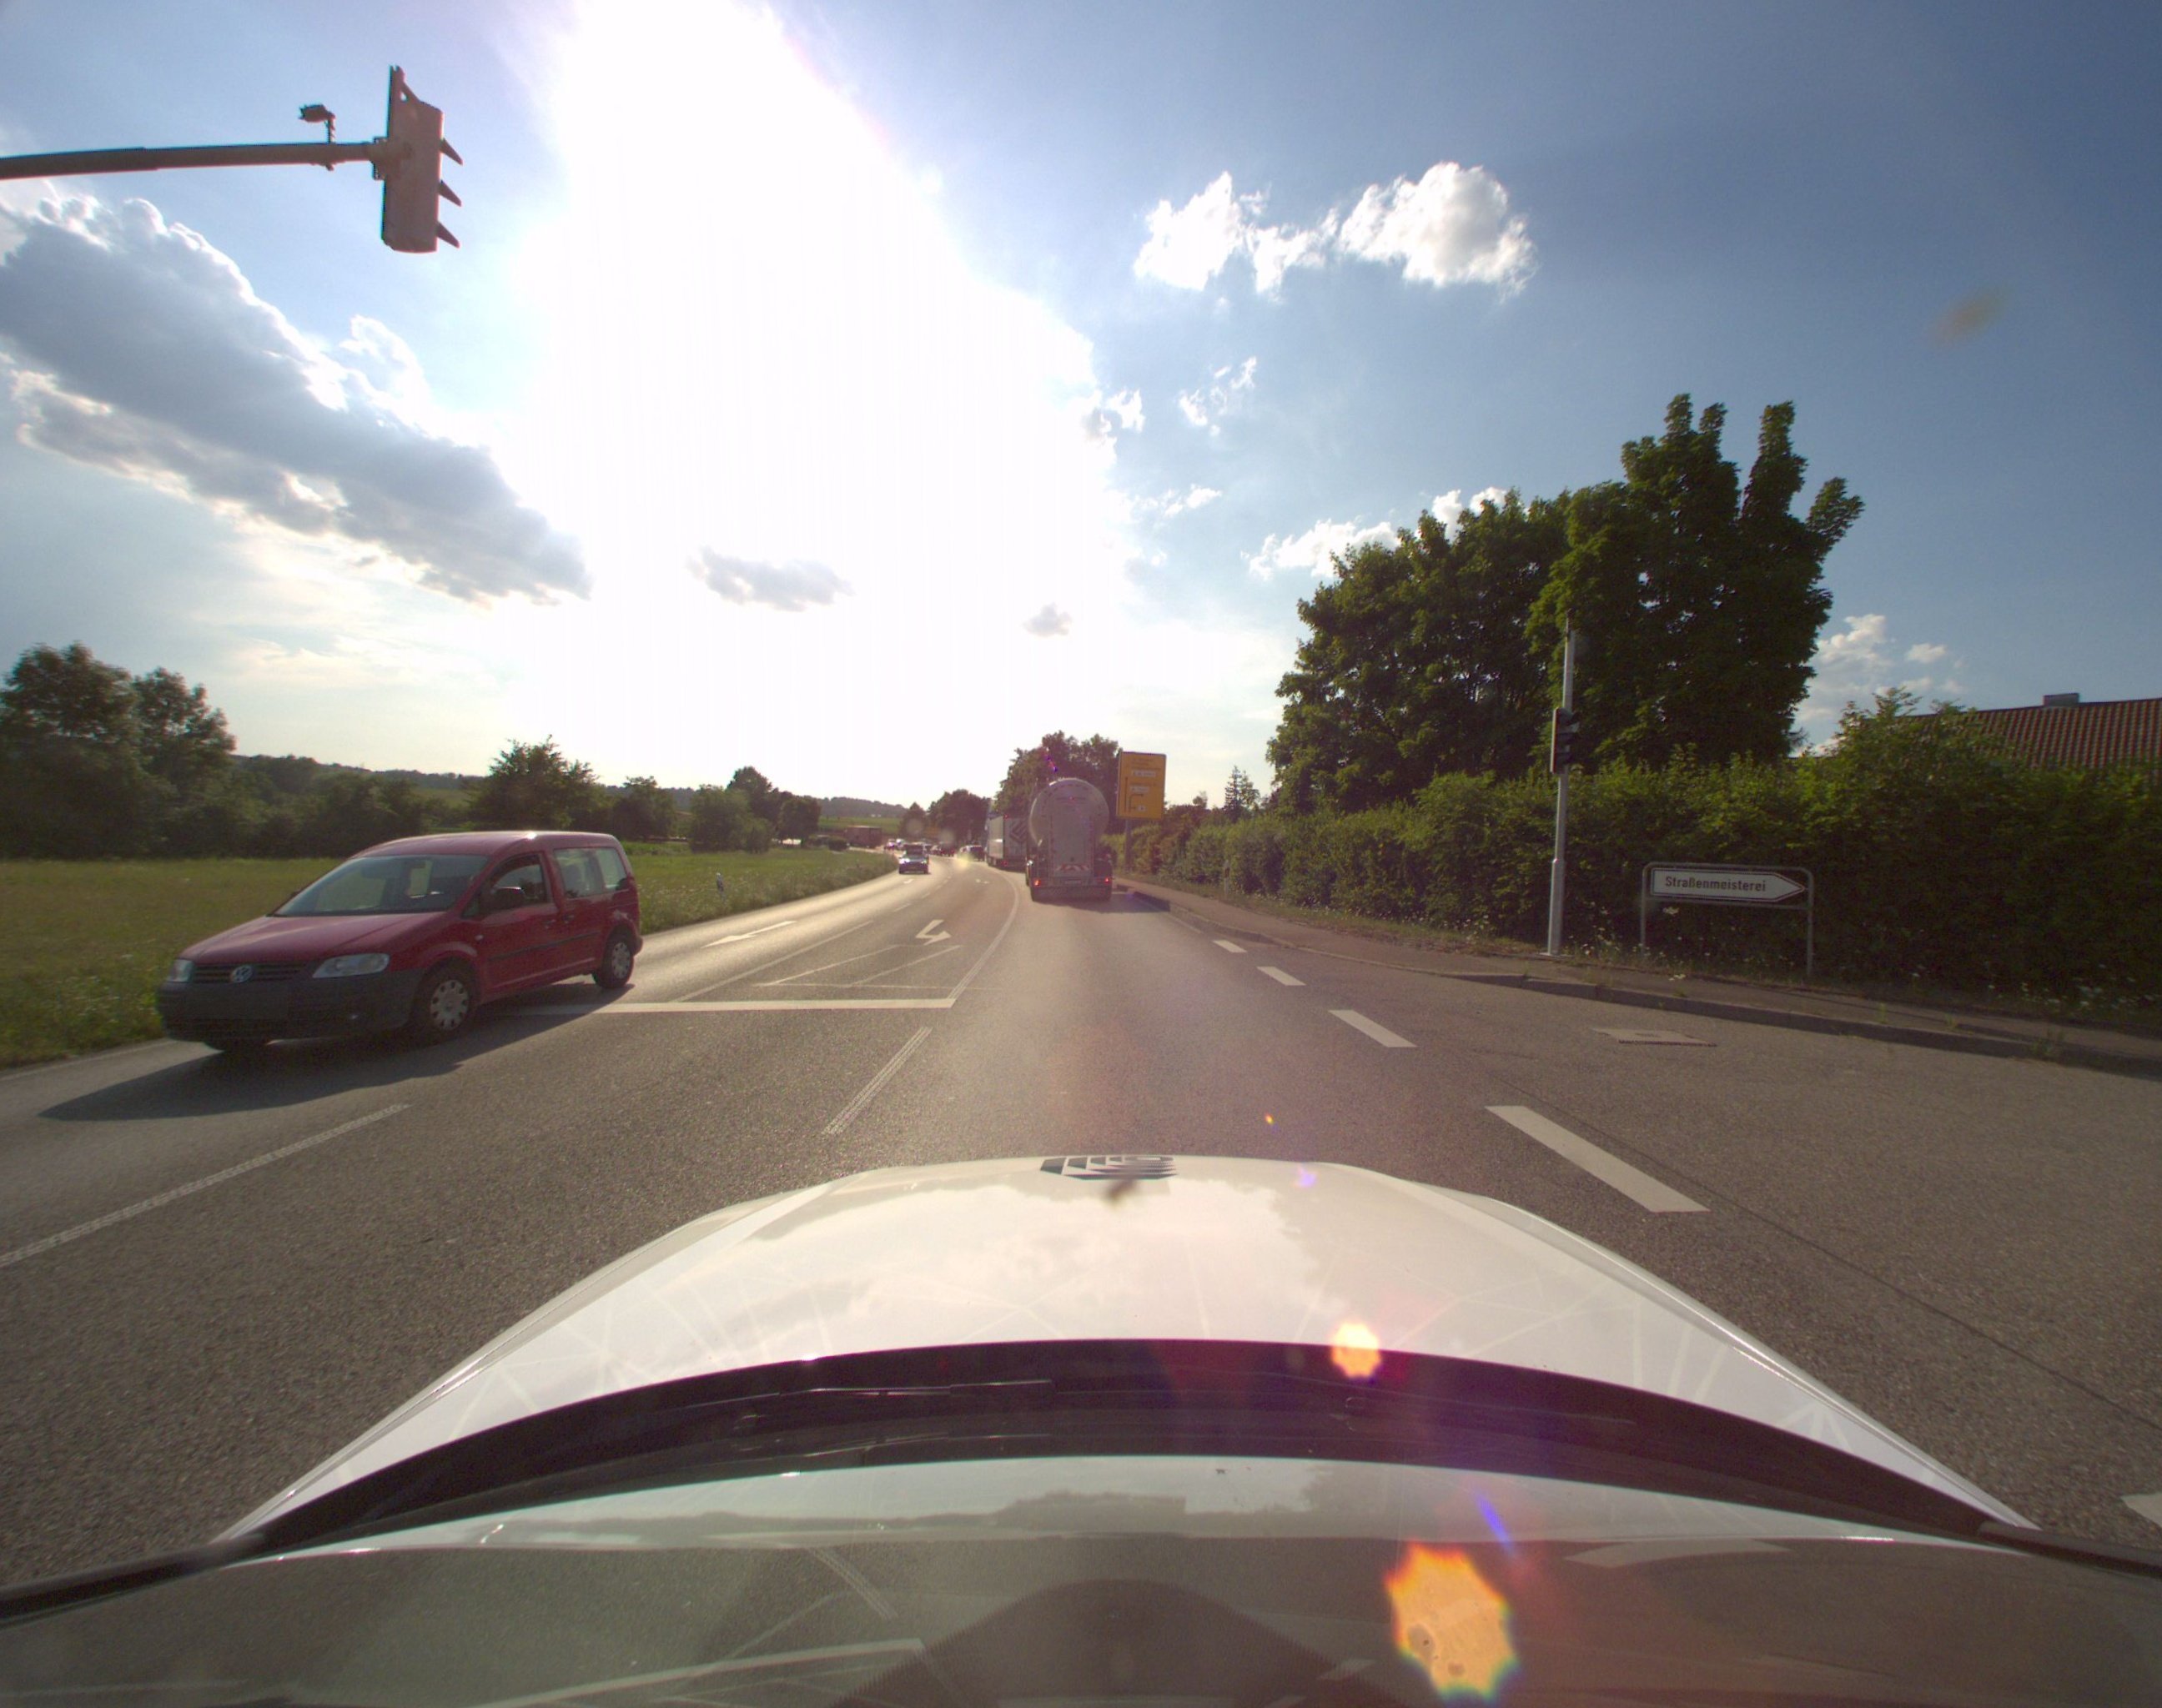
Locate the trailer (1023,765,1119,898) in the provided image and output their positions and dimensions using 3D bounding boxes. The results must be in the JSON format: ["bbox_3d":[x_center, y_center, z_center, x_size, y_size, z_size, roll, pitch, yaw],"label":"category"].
[{"bbox_3d":[-0.612,-0.709,29.605,2.903,4.006,9.917,0,0,-4],"label":"trailer"}]

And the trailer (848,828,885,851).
[{"bbox_3d":[-43.021,-2.941,162.725,3.397,4.350,14.154,1,0,-31],"label":"trailer"}]

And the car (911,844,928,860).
[{"bbox_3d":[-15.938,-0.191,80.456,1.586,1.466,3.594,-1,0,-10],"label":"car"}]

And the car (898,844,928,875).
[{"bbox_3d":[-10.931,0.326,53.207,1.725,1.882,4.320,-1,0,-10],"label":"car"}]

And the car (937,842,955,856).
[{"bbox_3d":[-18.828,-0.695,113.415,1.867,2.013,3.696,0,1,-18],"label":"car"}]

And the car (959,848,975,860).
[{"bbox_3d":[-13.926,0.013,99.650,1.582,1.340,3.410,1,0,-13],"label":"car"}]

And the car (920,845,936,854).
[{"bbox_3d":[-23.946,-0.703,127.199,1.588,1.340,3.397,1,0,-25],"label":"car"}]

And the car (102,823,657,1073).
[{"bbox_3d":[-6.240,0.664,8.121,1.876,1.776,4.317,-1,0,-3],"label":"car"}]

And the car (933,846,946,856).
[{"bbox_3d":[-20.983,-0.429,120.744,1.419,1.432,3.124,0,-1,-21],"label":"car"}]

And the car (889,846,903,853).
[{"bbox_3d":[-33.302,-0.805,146.890,1.778,1.205,3.397,1,0,-25],"label":"car"}]

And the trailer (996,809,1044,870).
[{"bbox_3d":[-5.082,-1.078,64.976,2.953,4.315,14.138,1,0,-7],"label":"trailer"}]

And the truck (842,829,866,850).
[{"bbox_3d":[-47.378,-3.065,170.027,3.397,4.350,5.650,1,0,-31],"label":"truck"}]

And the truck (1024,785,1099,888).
[{"bbox_3d":[-0.880,-0.711,33.848,2.904,4.006,4.054,0,0,-4],"label":"truck"}]

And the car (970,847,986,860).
[{"bbox_3d":[-11.609,-0.089,91.610,1.581,1.340,3.412,1,0,-11],"label":"car"}]

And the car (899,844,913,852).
[{"bbox_3d":[-30.185,-0.968,140.667,1.588,1.340,3.397,1,0,-25],"label":"car"}]
